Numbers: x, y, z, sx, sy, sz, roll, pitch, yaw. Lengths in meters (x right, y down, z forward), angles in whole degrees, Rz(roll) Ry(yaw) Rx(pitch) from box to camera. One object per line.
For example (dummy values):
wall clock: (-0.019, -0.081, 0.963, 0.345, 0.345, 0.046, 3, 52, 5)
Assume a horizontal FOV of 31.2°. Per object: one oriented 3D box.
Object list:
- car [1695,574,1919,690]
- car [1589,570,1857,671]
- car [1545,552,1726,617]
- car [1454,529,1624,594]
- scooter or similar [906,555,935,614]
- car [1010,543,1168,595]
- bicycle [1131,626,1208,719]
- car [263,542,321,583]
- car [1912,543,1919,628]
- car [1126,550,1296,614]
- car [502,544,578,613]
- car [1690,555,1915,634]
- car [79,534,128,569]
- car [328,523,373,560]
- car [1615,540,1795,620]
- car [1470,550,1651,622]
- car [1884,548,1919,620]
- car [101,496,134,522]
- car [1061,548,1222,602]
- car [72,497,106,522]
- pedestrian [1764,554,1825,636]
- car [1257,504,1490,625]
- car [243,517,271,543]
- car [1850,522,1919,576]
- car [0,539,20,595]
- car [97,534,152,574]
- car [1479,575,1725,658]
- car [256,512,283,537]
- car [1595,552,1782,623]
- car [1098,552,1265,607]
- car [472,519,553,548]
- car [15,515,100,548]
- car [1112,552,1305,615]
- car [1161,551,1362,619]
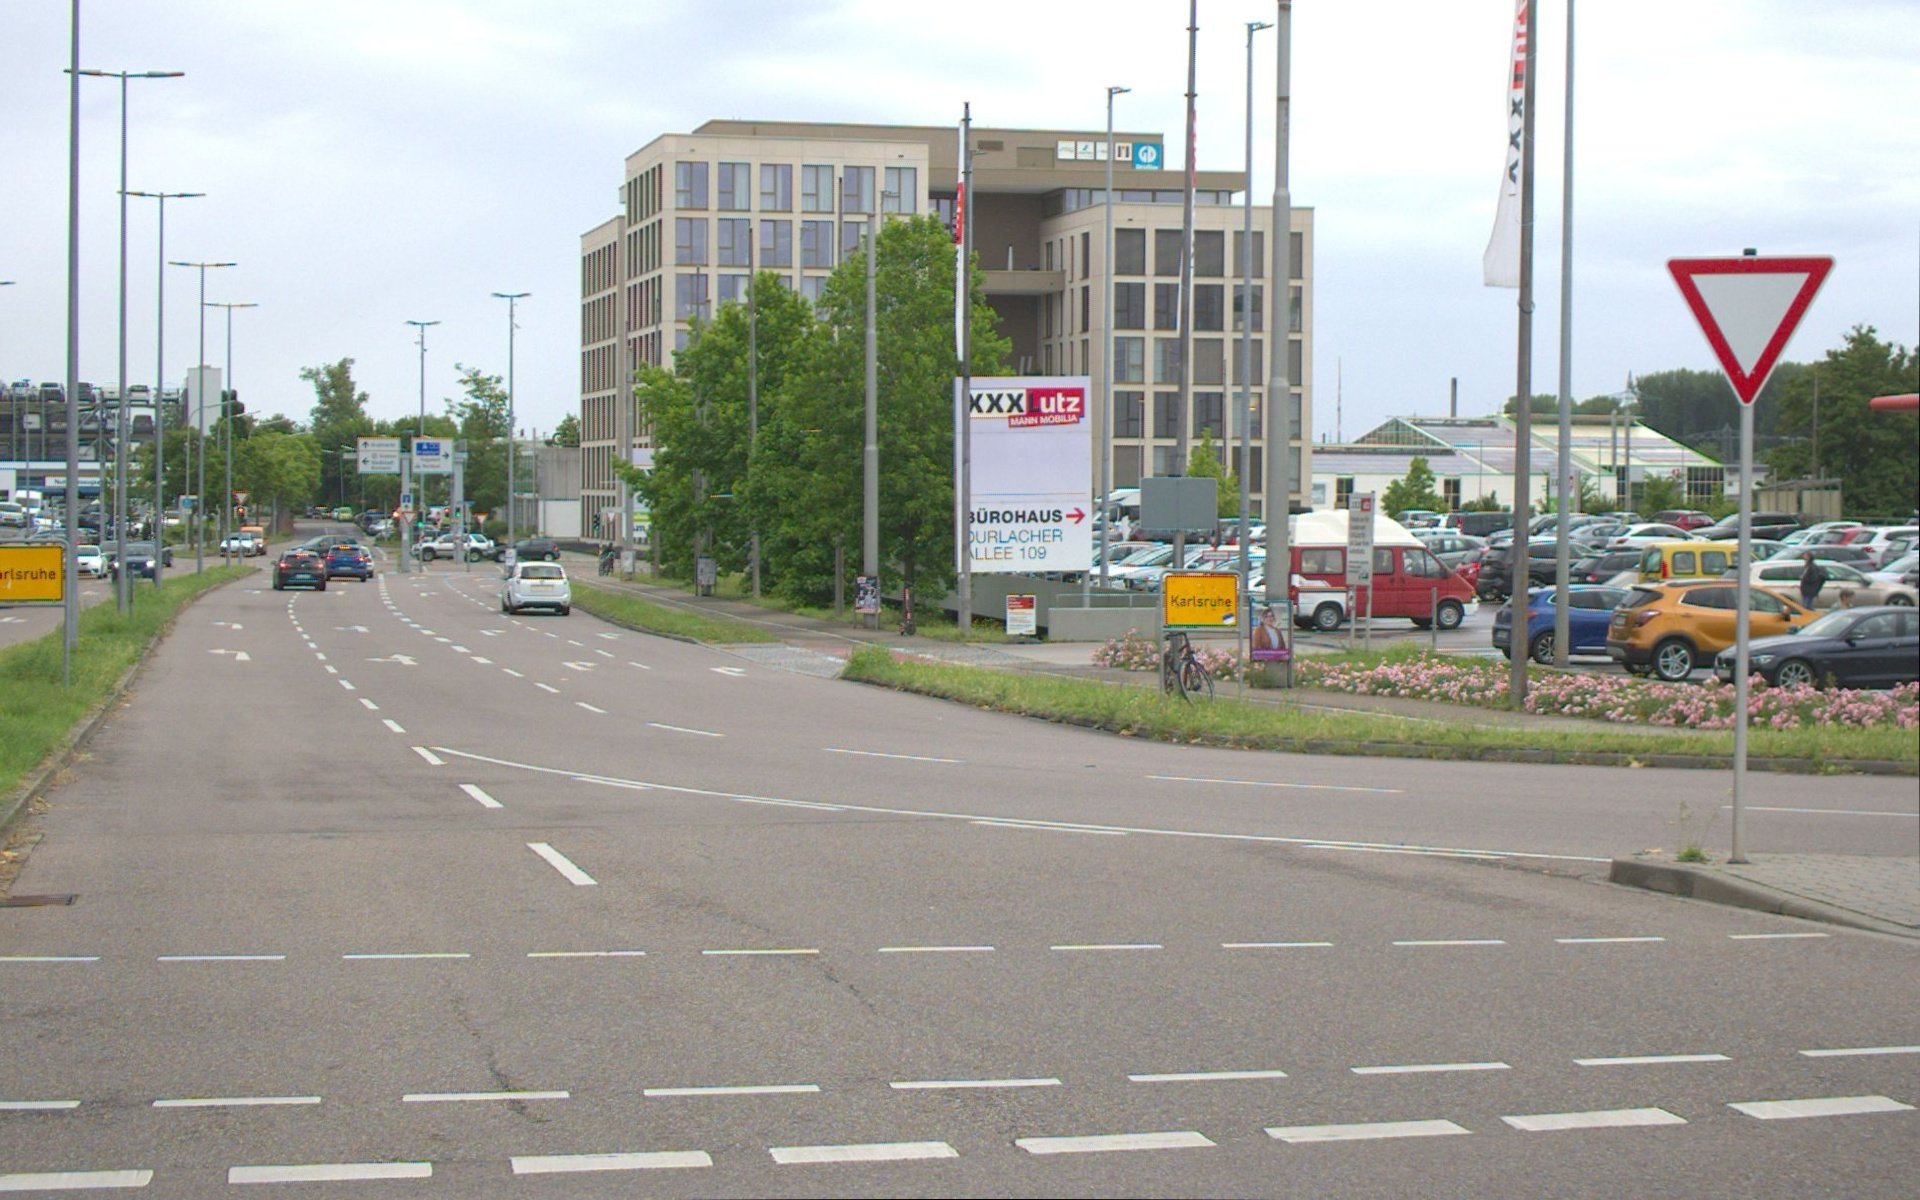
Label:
car: (13.721, 0.488, 52.393, 4.525, 1.577, 1.770, 1, 4, -8)
car: (12.767, 0.337, 57.638, 3.986, 1.638, 1.816, 0, 1, -7)
car: (16.888, -0.403, 86.001, 3.986, 1.529, 1.889, 1, 1, -12)
car: (15.764, -1.057, 93.683, 4.171, 1.658, 1.834, 1, 1, -8)
scooter or similar: (-0.972, -0.388, 84.691, 0.650, 1.416, 1.819, 0, 1, -3)
car: (3.660, -0.883, 98.038, 4.151, 1.345, 1.811, 0, 3, -12)
bicycle: (2.486, 0.849, 40.991, 0.663, 1.045, 1.692, 1, 1, -5)
car: (-24.261, -1.366, 124.785, 1.987, 1.423, 4.242, 0, 1, -12)
car: (20.786, -0.292, 67.042, 3.890, 1.648, 1.832, -1, 3, -13)
car: (6.482, -0.472, 89.077, 4.053, 1.535, 1.764, 1, 3, -10)
car: (-12.206, -0.645, 99.720, 1.993, 1.746, 4.182, 1, 3, -9)
car: (18.608, -0.120, 76.048, 4.410, 1.578, 1.835, 1, 3, -9)
car: (-37.144, -2.108, 149.158, 1.865, 1.449, 4.170, -1, 1, -11)
car: (-26.294, -2.522, 148.323, 1.834, 1.509, 4.001, 1, 1, -11)
car: (17.617, -0.474, 81.338, 3.735, 1.761, 1.734, 1, 3, -10)
car: (15.923, -0.384, 91.235, 4.311, 1.737, 1.889, 1, 3, -8)
car: (23.748, -0.352, 79.846, 3.986, 1.629, 1.787, 1, 1, -9)
car: (-60.998, -6.593, 248.983, 1.775, 1.700, 3.918, 1, 3, -5)
car: (4.980, -0.687, 94.516, 4.053, 1.345, 1.765, 0, 3, -12)
car: (-62.957, -6.548, 248.495, 1.775, 1.700, 3.918, 1, 3, -5)
pedestrian: (17.997, -0.108, 74.143, 0.939, 1.713, 0.886, 0, 3, -13)
car: (9.274, -0.804, 77.279, 4.721, 2.570, 2.171, 1, 3, -10)
car: (-43.213, -4.298, 211.335, 1.600, 1.448, 3.325, 1, 3, -10)
car: (28.915, -1.515, 103.694, 3.568, 1.582, 1.740, 1, 1, -7)
car: (-27.071, -0.895, 94.644, 1.930, 1.514, 4.183, -2, 1, -11)
car: (-32.470, -1.808, 133.681, 1.930, 1.481, 4.441, -1, 2, -12)
car: (11.638, 0.289, 62.420, 3.986, 1.450, 1.815, 0, 1, -10)
car: (-44.056, -4.805, 219.445, 1.600, 1.448, 3.325, 1, 3, -10)
car: (17.734, -0.316, 83.733, 3.986, 1.590, 1.880, 1, 3, -10)
car: (5.878, -0.550, 91.313, 4.053, 1.345, 1.836, 0, 3, -12)
car: (-26.045, -3.873, 200.016, 4.415, 1.654, 2.001, 0, 1, -17)
car: (-50.135, -3.827, 190.956, 4.431, 1.705, 2.001, 0, 3, -18)
car: (6.199, -0.421, 85.908, 4.464, 1.414, 1.868, 1, 3, -10)
car: (7.146, -0.370, 81.656, 4.373, 1.456, 1.962, 1, 3, -10)
